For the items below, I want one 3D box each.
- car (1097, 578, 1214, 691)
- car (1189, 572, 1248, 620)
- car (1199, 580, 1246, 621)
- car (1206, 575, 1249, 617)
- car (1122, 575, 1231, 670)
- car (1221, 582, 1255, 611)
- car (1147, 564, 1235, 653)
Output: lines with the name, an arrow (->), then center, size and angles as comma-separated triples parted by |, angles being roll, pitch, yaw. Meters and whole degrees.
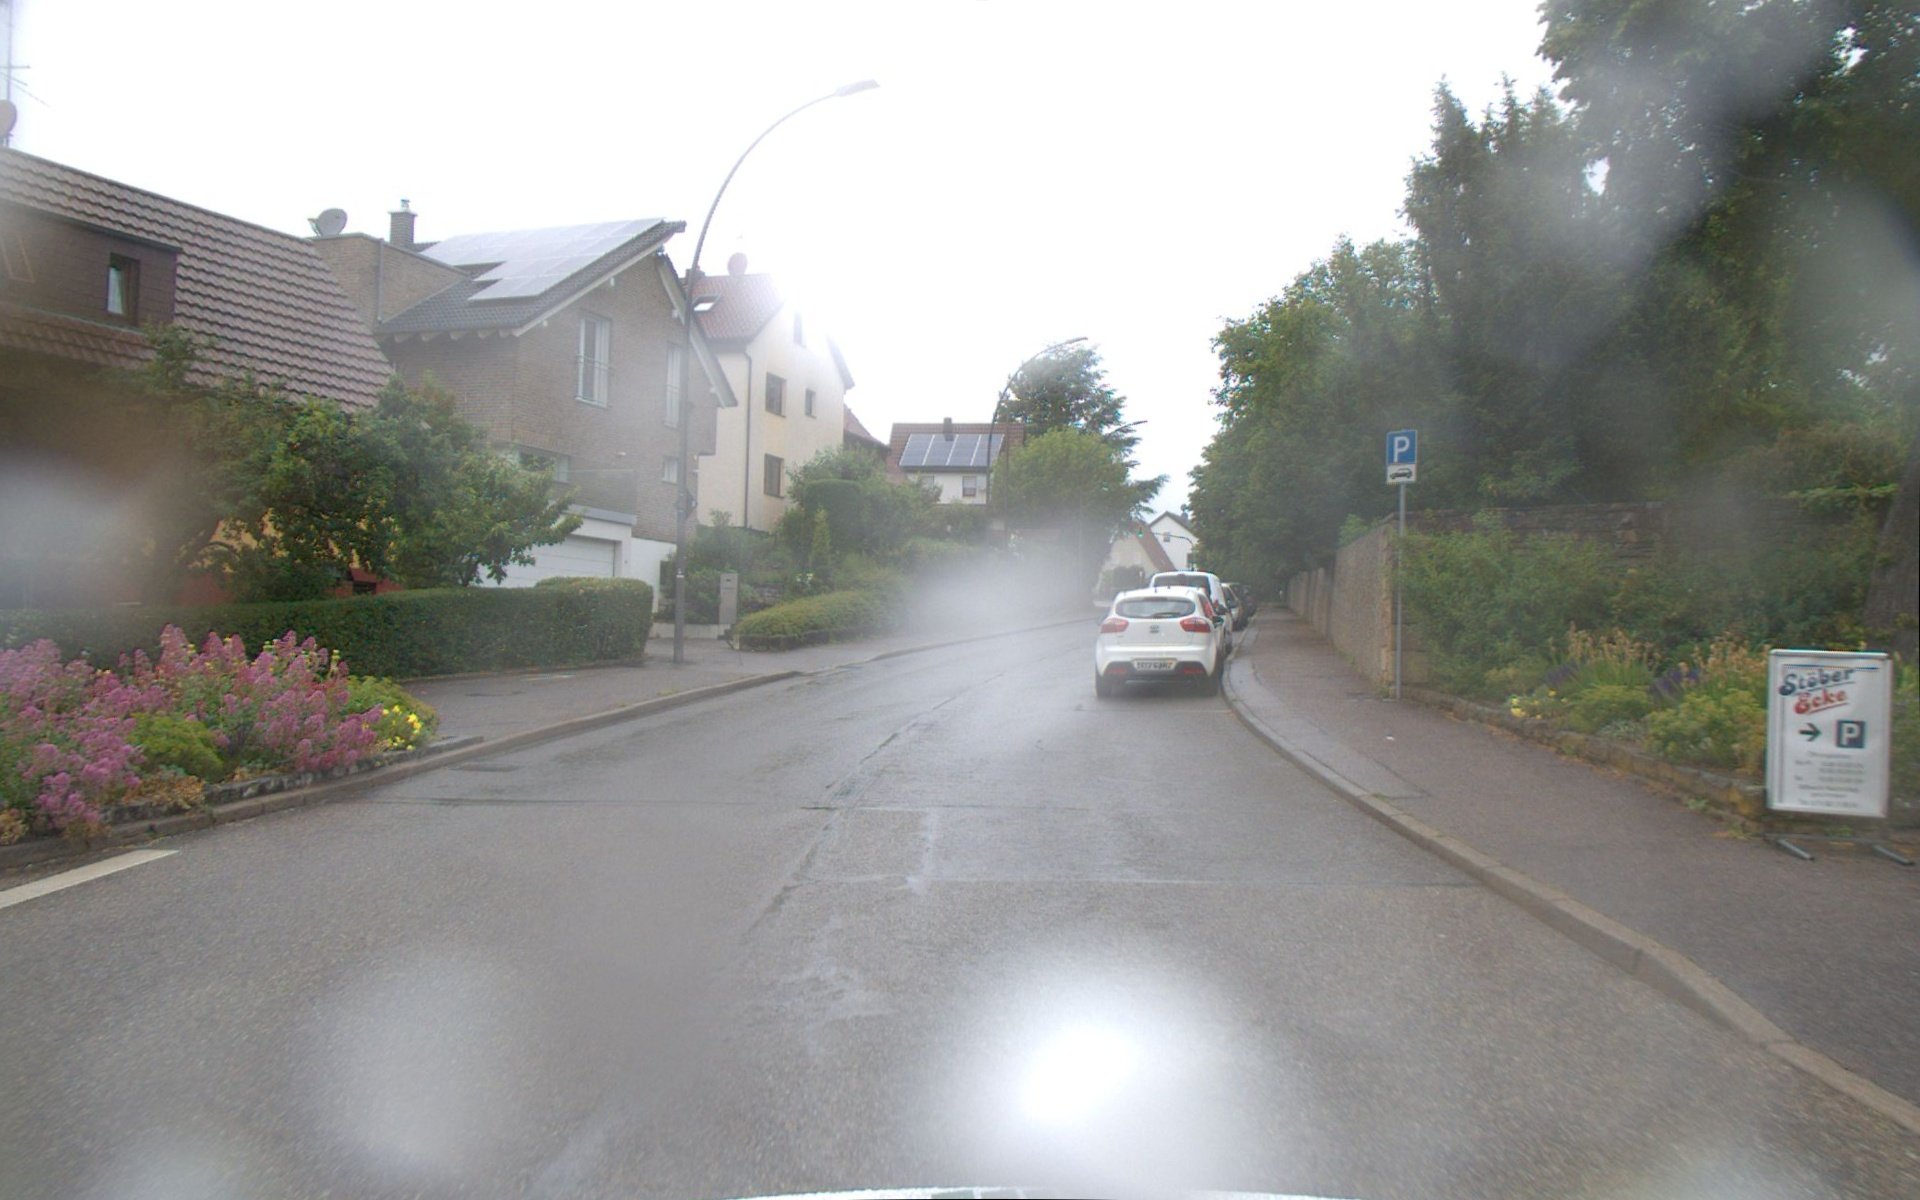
car -> 2.954, 0.450, 24.436 | 1.577, 1.506, 4.042 | 1, 0, 9
car -> 8.897, -0.129, 56.743 | 1.776, 1.601, 3.883 | 0, 0, 12
car -> 9.951, 0.025, 62.841 | 1.727, 1.472, 4.700 | 0, 0, 9
car -> 11.156, -0.148, 69.043 | 1.705, 1.697, 4.501 | 0, 0, 9
car -> 3.902, 0.333, 29.319 | 1.610, 1.487, 4.004 | 1, 2, 12
car -> 13.859, -0.198, 82.466 | 1.616, 1.395, 4.185 | 0, 0, 9
car -> 4.966, 0.162, 35.202 | 1.602, 1.771, 4.139 | 0, 0, 11
